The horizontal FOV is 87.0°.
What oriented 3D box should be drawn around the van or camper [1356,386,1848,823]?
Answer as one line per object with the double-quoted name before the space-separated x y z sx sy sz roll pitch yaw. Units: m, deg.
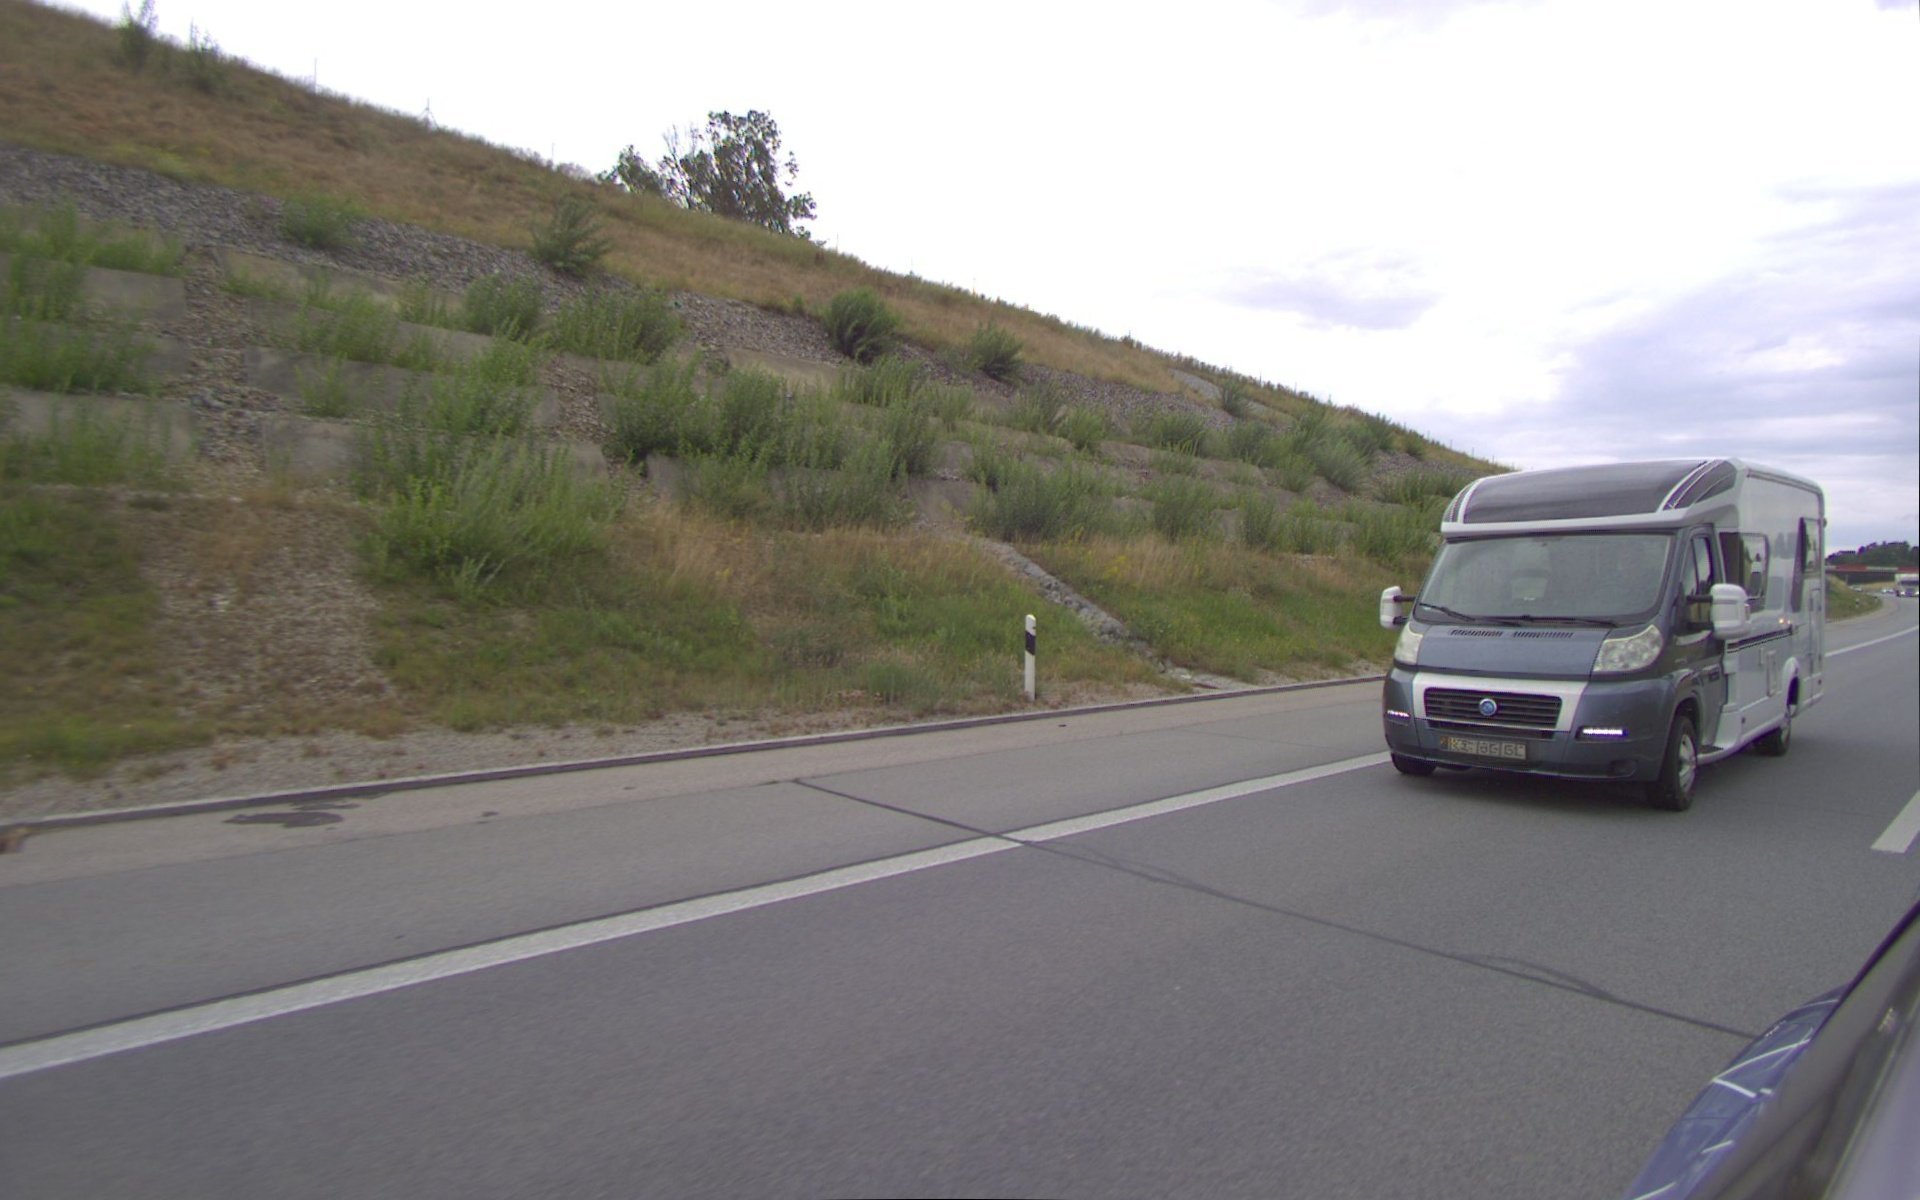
"van or camper" 6.363 0.003 9.467 6.783 2.772 2.101 0 1 -42
